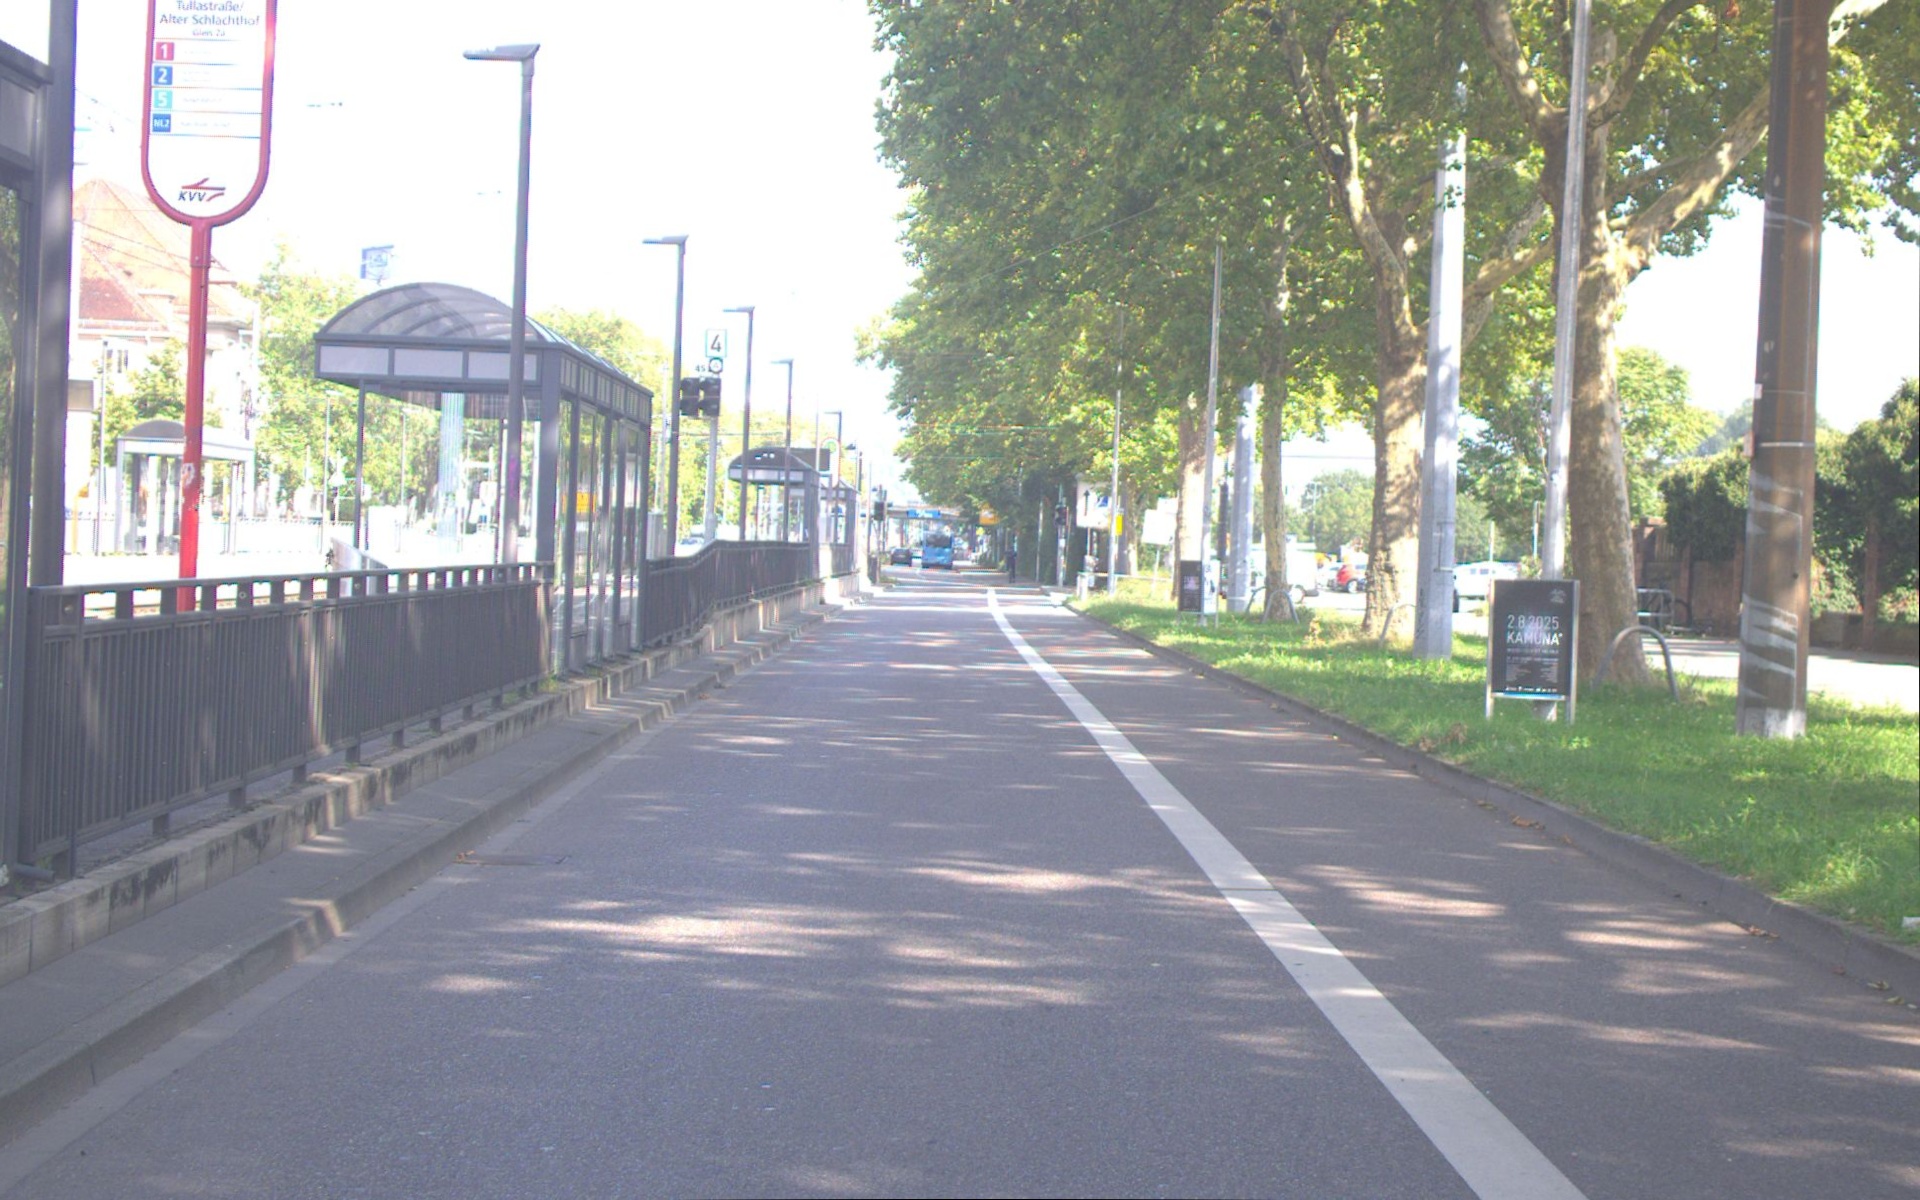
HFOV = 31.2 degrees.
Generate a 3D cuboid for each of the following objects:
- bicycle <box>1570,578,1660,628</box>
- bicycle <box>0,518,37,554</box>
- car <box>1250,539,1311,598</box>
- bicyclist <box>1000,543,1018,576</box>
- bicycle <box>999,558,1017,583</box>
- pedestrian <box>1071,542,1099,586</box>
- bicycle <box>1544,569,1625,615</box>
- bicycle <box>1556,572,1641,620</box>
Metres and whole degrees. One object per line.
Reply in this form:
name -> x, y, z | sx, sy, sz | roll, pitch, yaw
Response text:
bicycle -> 12.727, 0.058, 66.818 | 1.656, 0.966, 0.506 | 0, 1, 5
bicycle -> -17.943, -1.205, 64.936 | 0.477, 0.660, 1.613 | 2, 1, 4
car -> 11.514, -1.161, 123.834 | 1.722, 2.041, 4.462 | 2, 1, 0
bicyclist -> 2.218, -1.858, 155.874 | 0.705, 1.456, 1.009 | 3, 0, 0
bicycle -> 2.189, -1.339, 155.829 | 0.715, 1.104, 2.509 | 3, 1, 0
pedestrian -> 4.608, -1.320, 126.588 | 0.626, 1.612, 0.843 | 2, 1, 37
bicycle -> 13.460, -0.174, 74.118 | 1.656, 0.966, 0.506 | 0, 1, 3
bicycle -> 12.922, -0.082, 69.627 | 1.656, 0.966, 0.506 | 0, 1, 5
